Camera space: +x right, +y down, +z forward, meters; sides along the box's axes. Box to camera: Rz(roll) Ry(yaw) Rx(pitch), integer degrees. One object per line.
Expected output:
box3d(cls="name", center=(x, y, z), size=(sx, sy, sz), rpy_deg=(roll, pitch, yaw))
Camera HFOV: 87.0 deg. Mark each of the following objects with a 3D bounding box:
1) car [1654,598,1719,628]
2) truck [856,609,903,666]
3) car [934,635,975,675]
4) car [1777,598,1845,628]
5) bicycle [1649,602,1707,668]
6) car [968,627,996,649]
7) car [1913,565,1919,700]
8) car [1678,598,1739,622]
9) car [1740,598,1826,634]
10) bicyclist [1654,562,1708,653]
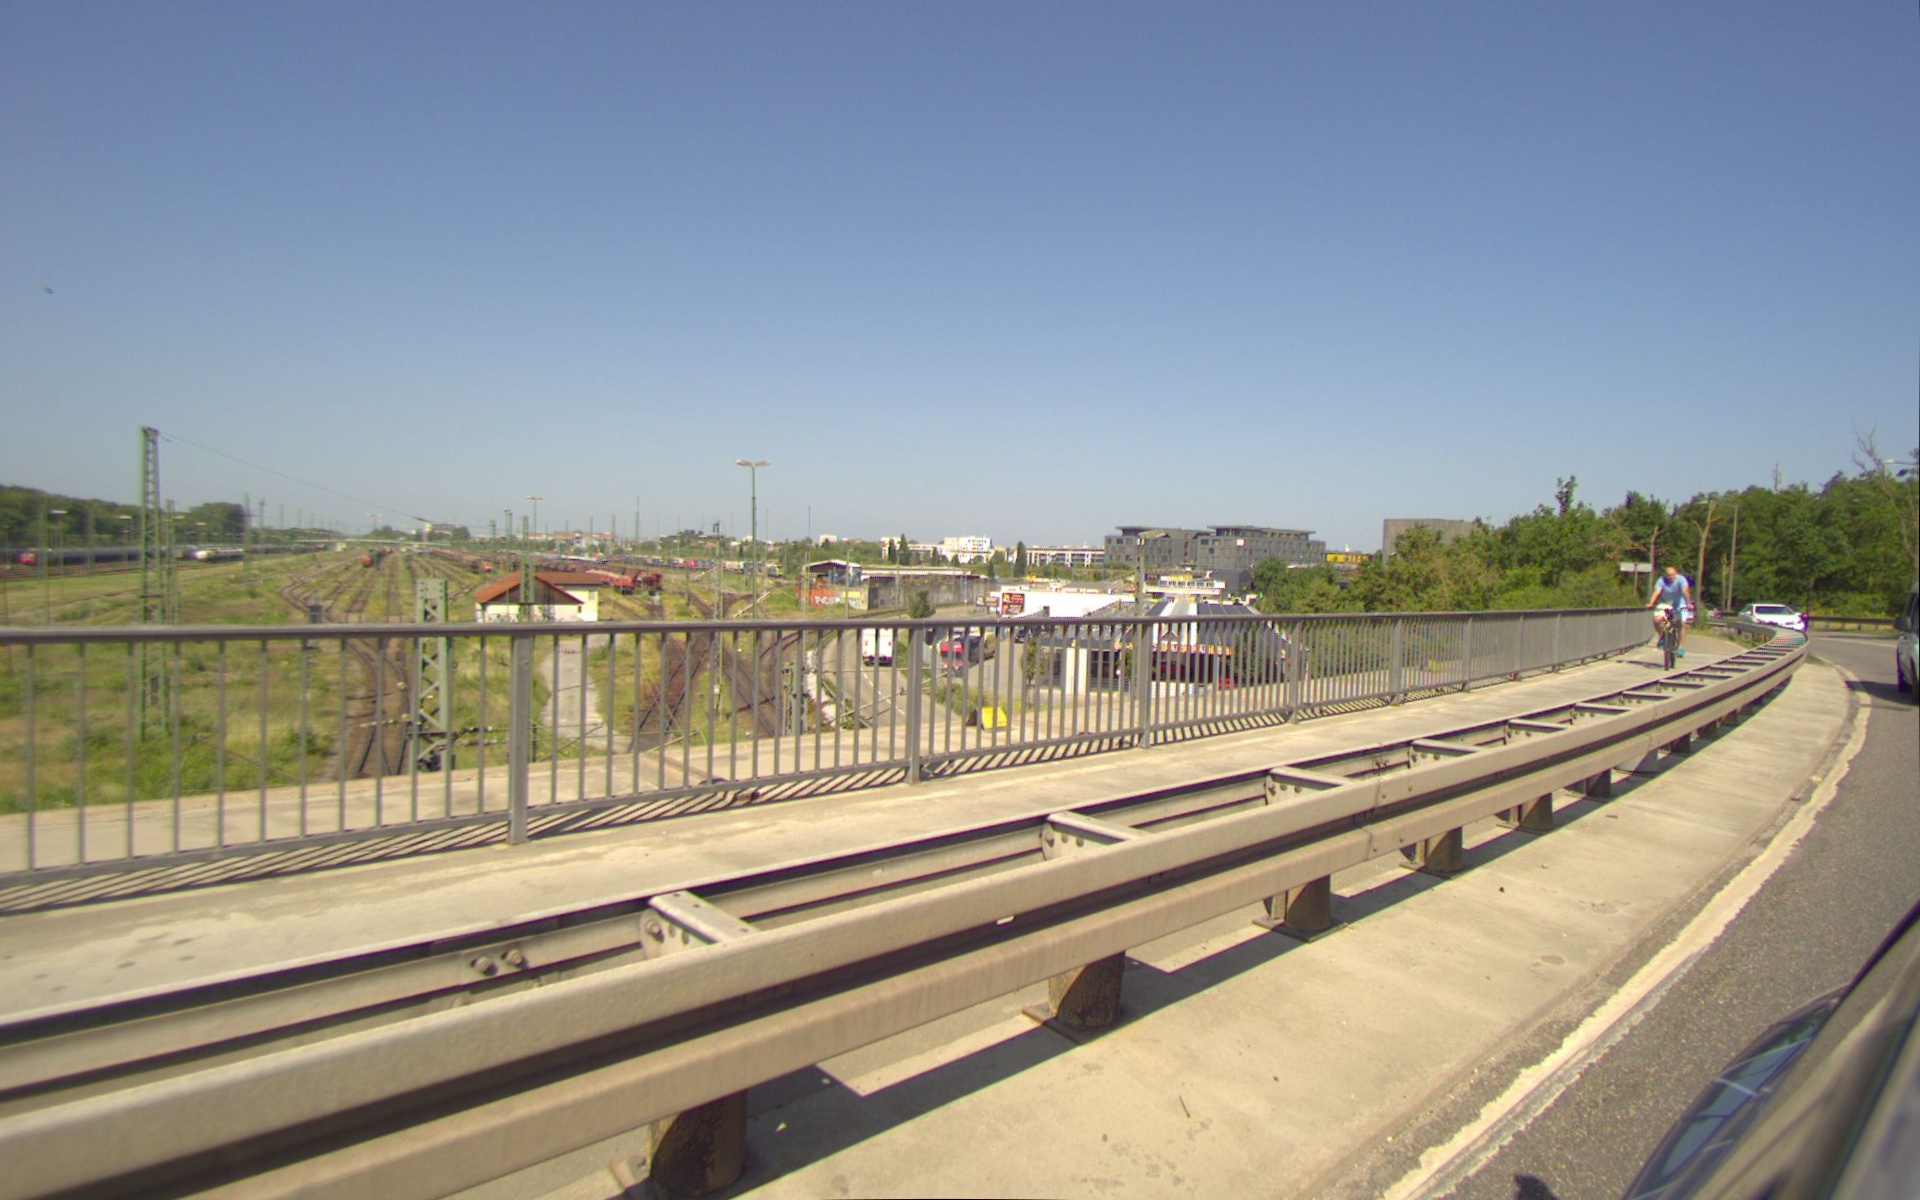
box3d(cls="car", center=(41.217, 0.703, 57.498), size=(1.976, 1.605, 3.972), rpy_deg=(1, 0, 21))
box3d(cls="truck", center=(-7.227, 3.275, 93.131), size=(3.748, 4.079, 13.282), rpy_deg=(3, 2, -3))
box3d(cls="car", center=(-0.432, 4.590, 84.733), size=(2.272, 2.696, 5.363), rpy_deg=(-4, 2, 11))
box3d(cls="car", center=(44.738, 0.702, 53.312), size=(1.727, 1.475, 4.259), rpy_deg=(1, -1, 26))
box3d(cls="bicycle", center=(12.745, 0.589, 17.934), size=(0.701, 1.032, 1.821), rpy_deg=(6, 3, 37))
box3d(cls="car", center=(2.123, 3.609, 97.128), size=(1.968, 1.894, 3.987), rpy_deg=(-4, -1, 11))
box3d(cls="car", center=(15.134, 0.447, 14.673), size=(1.892, 1.818, 4.378), rpy_deg=(0, 0, 43))
box3d(cls="car", center=(48.478, 0.615, 65.605), size=(1.697, 1.415, 4.164), rpy_deg=(1, 1, 14))
box3d(cls="car", center=(36.205, 0.660, 44.656), size=(1.826, 1.507, 4.120), rpy_deg=(0, 0, 23))
box3d(cls="bicyclist", center=(12.733, 0.113, 17.863), size=(0.657, 1.538, 0.792), rpy_deg=(5, 4, 38))
